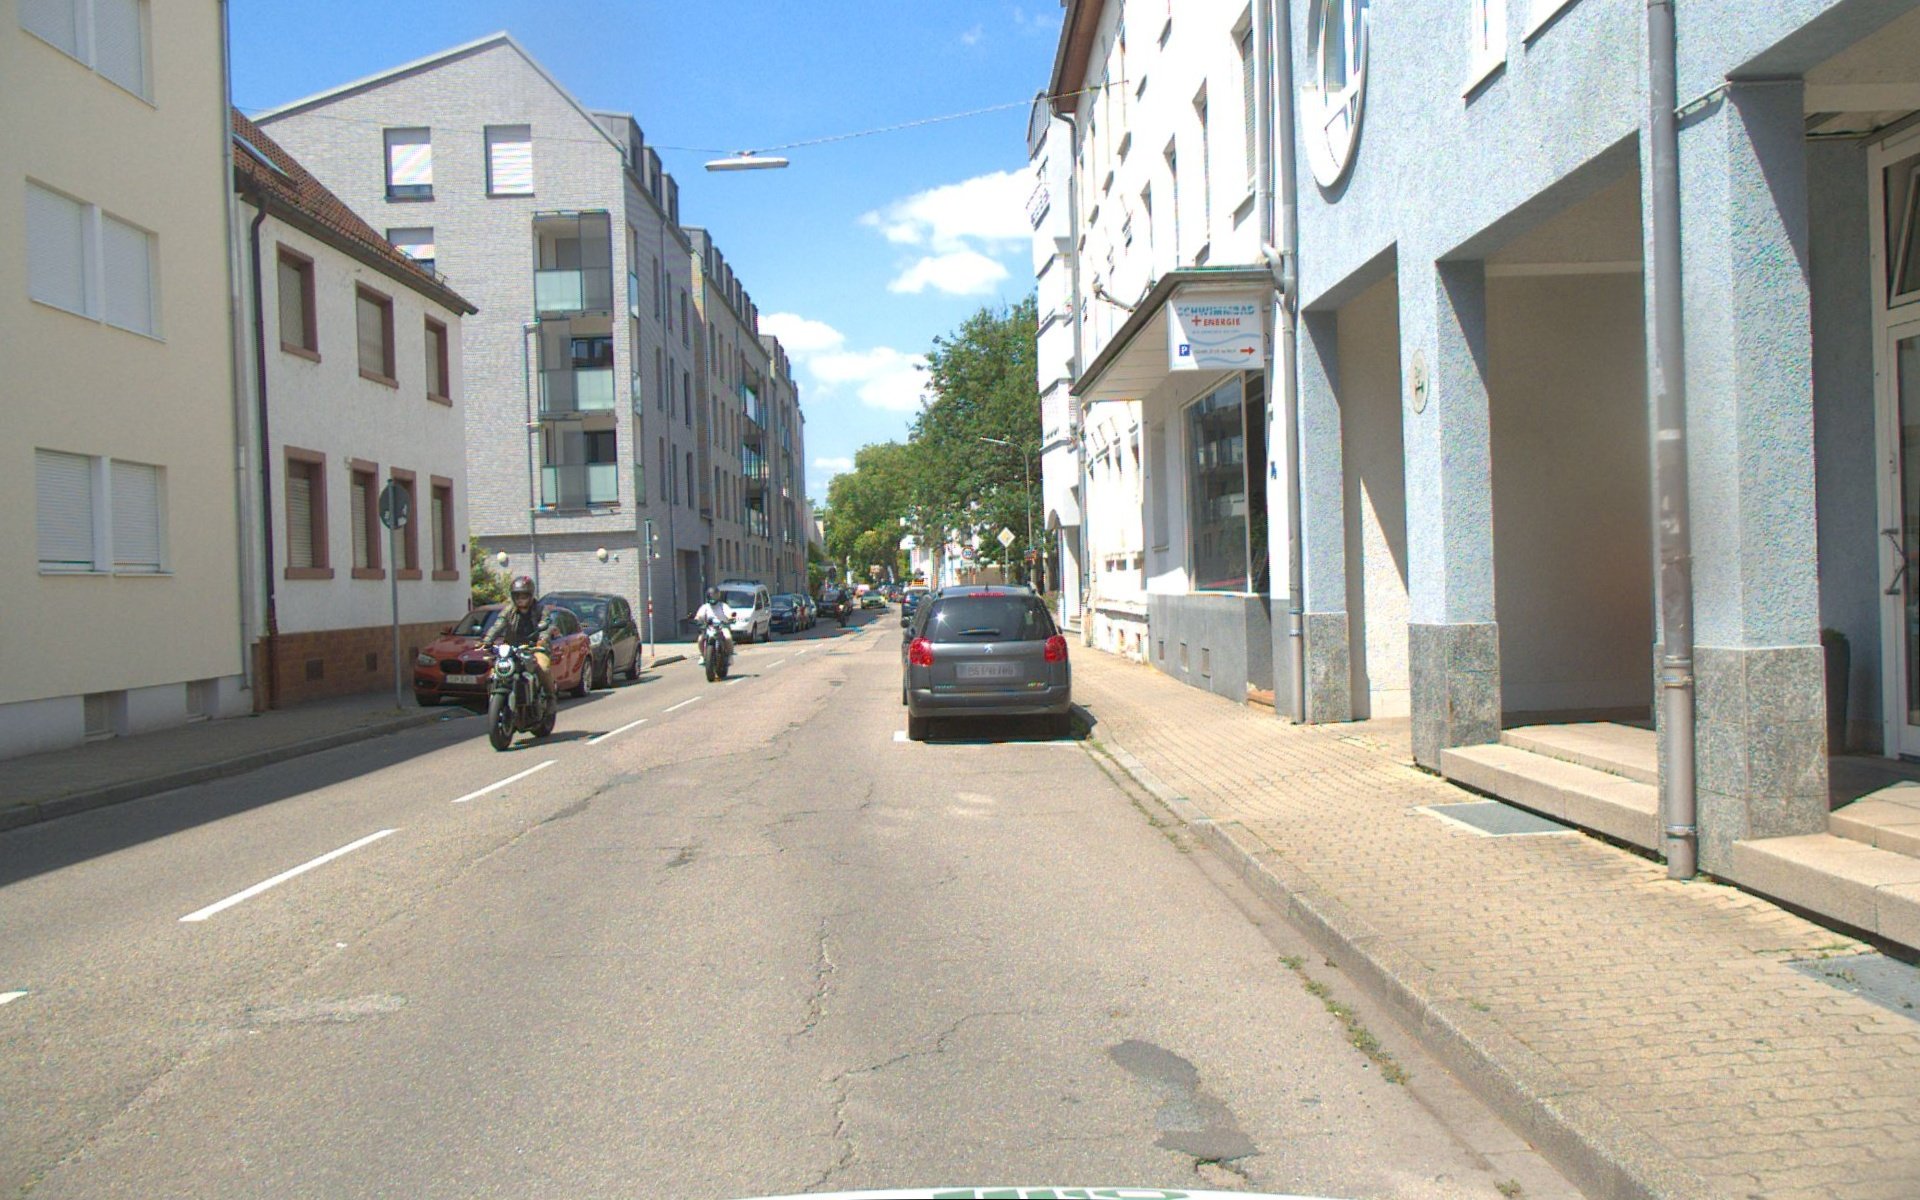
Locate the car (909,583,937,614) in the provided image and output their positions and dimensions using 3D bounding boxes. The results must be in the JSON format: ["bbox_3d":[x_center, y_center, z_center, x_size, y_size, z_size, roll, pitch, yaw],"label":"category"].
[{"bbox_3d":[-2.582,-0.126,116.194,1.801,2.048,4.000,-2,1,-1],"label":"car"}]

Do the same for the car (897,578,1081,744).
[{"bbox_3d":[0.204,0.576,17.794,1.675,1.534,3.998,-2,0,-3],"label":"car"}]

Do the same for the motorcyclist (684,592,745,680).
[{"bbox_3d":[-4.369,0.625,29.556,0.897,1.506,1.203,-1,0,-1],"label":"motorcyclist"}]

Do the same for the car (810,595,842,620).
[{"bbox_3d":[-8.122,0.444,100.497,1.697,1.467,3.999,-2,0,-2],"label":"car"}]

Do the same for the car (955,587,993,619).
[{"bbox_3d":[0.676,0.158,83.400,1.659,1.444,3.998,-4,0,-2],"label":"car"}]

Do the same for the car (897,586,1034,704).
[{"bbox_3d":[0.016,0.559,23.182,1.694,1.445,4.544,-2,0,-1],"label":"car"}]

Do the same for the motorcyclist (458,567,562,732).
[{"bbox_3d":[-4.734,0.501,17.467,0.698,1.663,1.069,-2,0,2],"label":"motorcyclist"}]

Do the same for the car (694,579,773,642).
[{"bbox_3d":[-7.171,0.293,52.835,1.720,1.925,4.338,1,1,3],"label":"car"}]

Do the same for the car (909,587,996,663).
[{"bbox_3d":[-0.197,0.470,33.611,1.586,1.409,3.537,-1,0,-3],"label":"car"}]

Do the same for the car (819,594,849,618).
[{"bbox_3d":[-8.026,0.383,105.790,1.697,1.467,3.999,-2,0,-2],"label":"car"}]

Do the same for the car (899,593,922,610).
[{"bbox_3d":[-4.954,0.136,165.946,1.956,1.646,3.994,-1,0,-7],"label":"car"}]

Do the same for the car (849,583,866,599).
[{"bbox_3d":[-14.105,-1.213,226.987,2.115,2.049,3.995,-2,0,-6],"label":"car"}]

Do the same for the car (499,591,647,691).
[{"bbox_3d":[-6.924,0.682,29.980,1.758,1.675,3.944,-1,0,0],"label":"car"}]

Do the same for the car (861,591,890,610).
[{"bbox_3d":[-6.665,0.034,130.932,1.952,1.405,4.393,0,0,1],"label":"car"}]

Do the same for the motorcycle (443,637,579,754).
[{"bbox_3d":[-4.707,0.971,17.497,0.698,1.046,2.240,-2,1,3],"label":"motorcycle"}]

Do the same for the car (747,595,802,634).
[{"bbox_3d":[-7.286,0.549,65.162,1.688,1.481,4.005,0,0,0],"label":"car"}]

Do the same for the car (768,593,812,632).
[{"bbox_3d":[-7.228,0.505,70.601,1.558,1.581,3.570,-1,0,-2],"label":"car"}]

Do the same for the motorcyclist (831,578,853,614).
[{"bbox_3d":[-5.118,-0.169,71.953,0.805,1.535,1.057,-2,0,1],"label":"motorcyclist"}]

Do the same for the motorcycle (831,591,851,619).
[{"bbox_3d":[-5.161,0.204,72.000,0.673,1.142,2.028,-2,0,1],"label":"motorcycle"}]

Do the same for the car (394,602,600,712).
[{"bbox_3d":[-6.861,0.794,24.993,1.796,1.441,4.290,-2,0,1],"label":"car"}]

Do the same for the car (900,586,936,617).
[{"bbox_3d":[-2.084,0.071,82.705,1.680,1.426,4.000,-2,1,-1],"label":"car"}]

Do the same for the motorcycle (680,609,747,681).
[{"bbox_3d":[-4.389,0.779,29.617,0.878,1.196,2.207,-1,0,-1],"label":"motorcycle"}]
